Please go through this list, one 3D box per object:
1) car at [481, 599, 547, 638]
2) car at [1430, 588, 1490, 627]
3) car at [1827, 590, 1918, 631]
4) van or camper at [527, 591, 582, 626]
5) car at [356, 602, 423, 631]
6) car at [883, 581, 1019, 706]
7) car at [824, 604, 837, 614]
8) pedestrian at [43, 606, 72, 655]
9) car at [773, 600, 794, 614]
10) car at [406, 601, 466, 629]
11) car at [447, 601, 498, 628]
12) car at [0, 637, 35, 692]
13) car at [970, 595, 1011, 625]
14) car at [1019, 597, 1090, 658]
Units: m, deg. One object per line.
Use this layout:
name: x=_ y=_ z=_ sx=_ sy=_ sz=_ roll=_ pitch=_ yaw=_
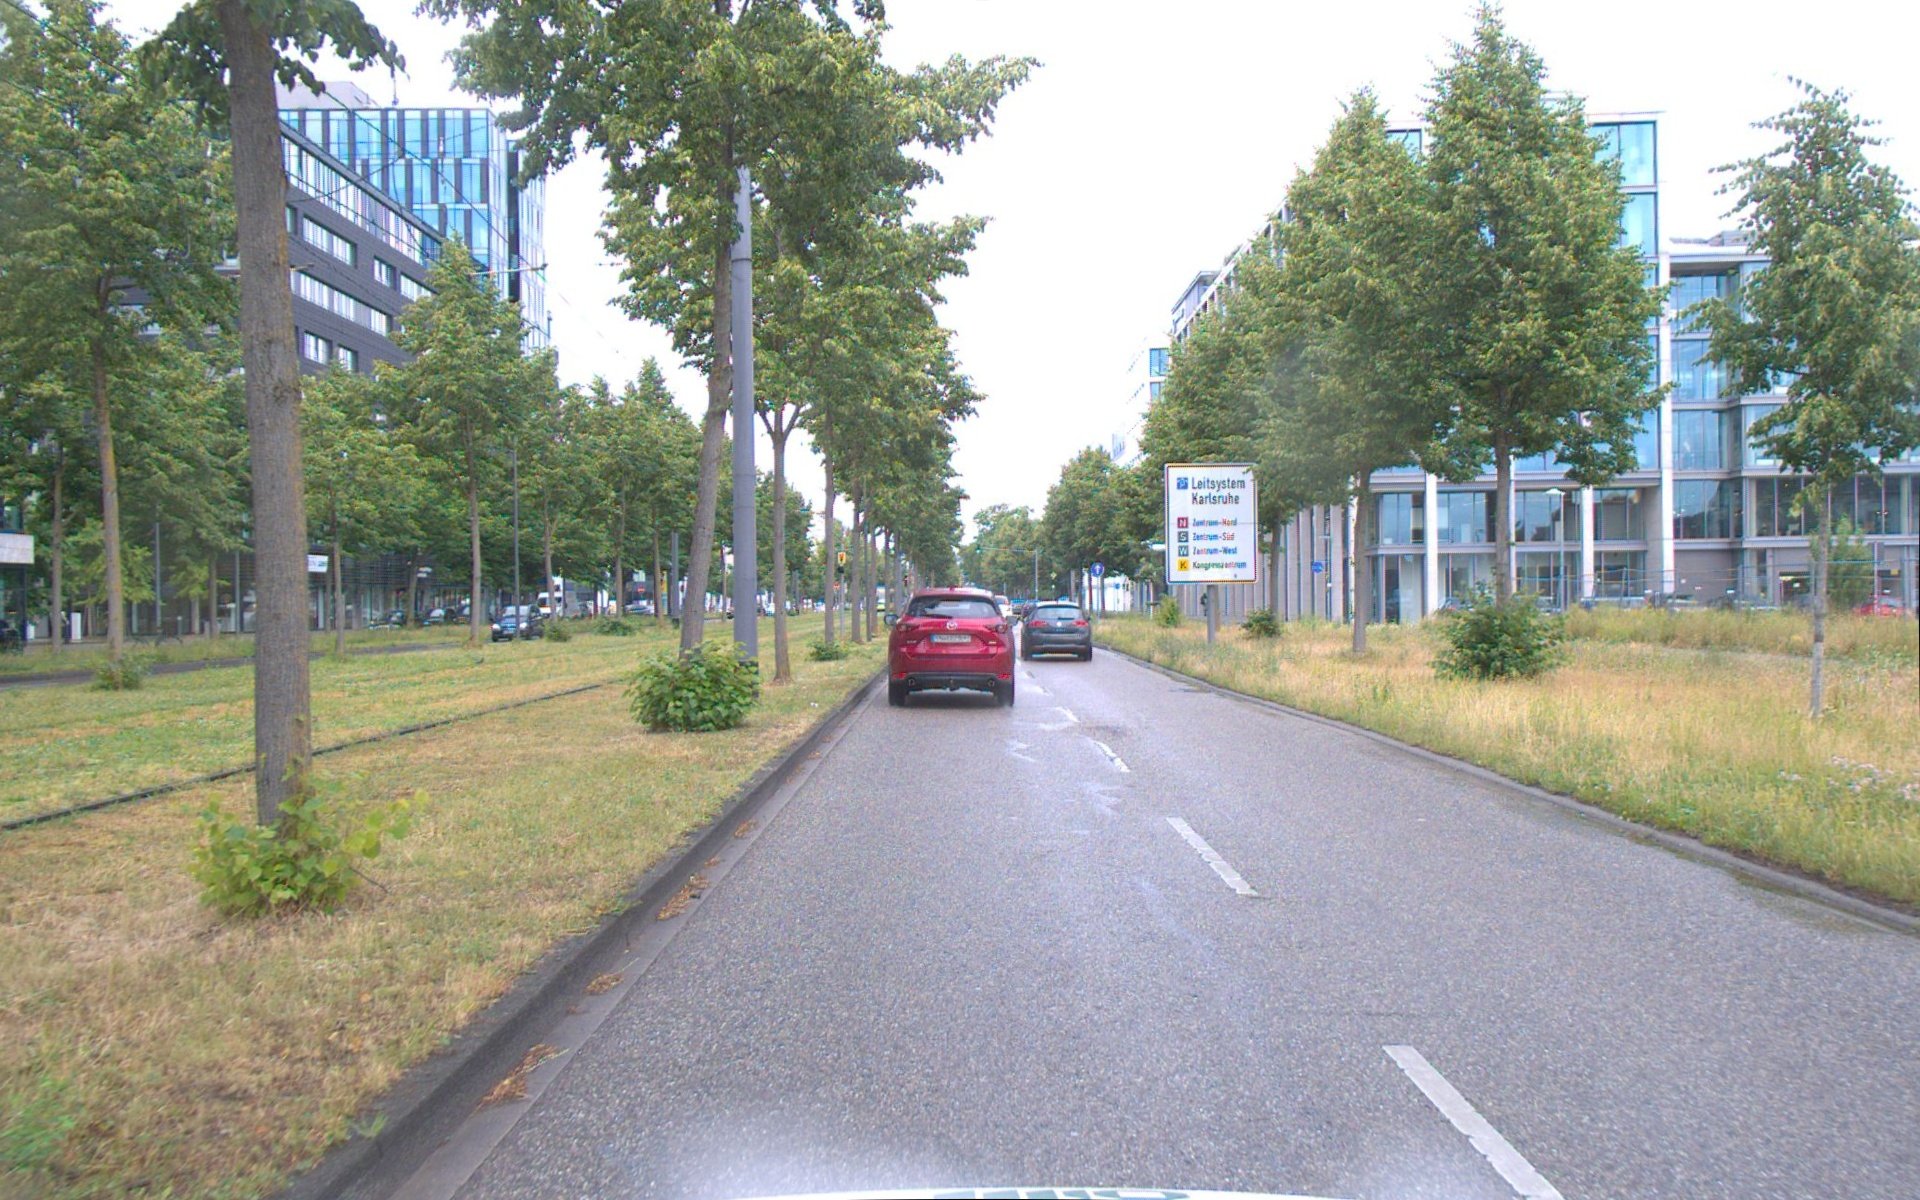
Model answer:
car: x=-19.922 y=0.809 z=74.048 sx=1.953 sy=1.685 sz=3.699 roll=0 pitch=0 yaw=0
car: x=21.229 y=0.306 z=70.348 sx=1.815 sy=1.608 sz=4.003 roll=0 pitch=0 yaw=7
car: x=37.528 y=0.425 z=68.137 sx=1.816 sy=1.629 sz=4.002 roll=0 pitch=0 yaw=5
van or camper: x=-28.121 y=0.572 z=114.948 sx=2.383 sy=2.356 sz=5.850 roll=0 pitch=0 yaw=0
car: x=-28.227 y=0.801 z=81.956 sx=1.953 sy=1.402 sz=4.000 roll=0 pitch=0 yaw=0
car: x=-0.145 y=0.594 z=24.708 sx=1.859 sy=1.706 sz=3.999 roll=0 pitch=0 yaw=-1
car: x=-19.131 y=1.305 z=244.061 sx=1.675 sy=1.429 sz=4.000 roll=-1 pitch=0 yaw=0
pedestrian: x=-37.405 y=1.263 z=68.557 sx=0.778 sy=2.016 sz=0.855 roll=0 pitch=0 yaw=-2
car: x=-19.413 y=0.751 z=181.978 sx=1.825 sy=1.551 sz=4.479 roll=-1 pitch=0 yaw=0
car: x=-27.969 y=0.785 z=88.337 sx=1.953 sy=1.402 sz=4.000 roll=0 pitch=0 yaw=0
car: x=-27.809 y=0.796 z=94.455 sx=1.667 sy=1.475 sz=4.241 roll=0 pitch=0 yaw=0
car: x=-27.658 y=1.821 z=45.868 sx=1.817 sy=1.490 sz=3.988 roll=-1 pitch=0 yaw=-1
car: x=1.565 y=0.499 z=86.093 sx=1.927 sy=1.462 sz=4.551 roll=1 pitch=0 yaw=-2
car: x=2.447 y=0.671 z=42.184 sx=1.707 sy=1.490 sz=3.783 roll=0 pitch=0 yaw=5
